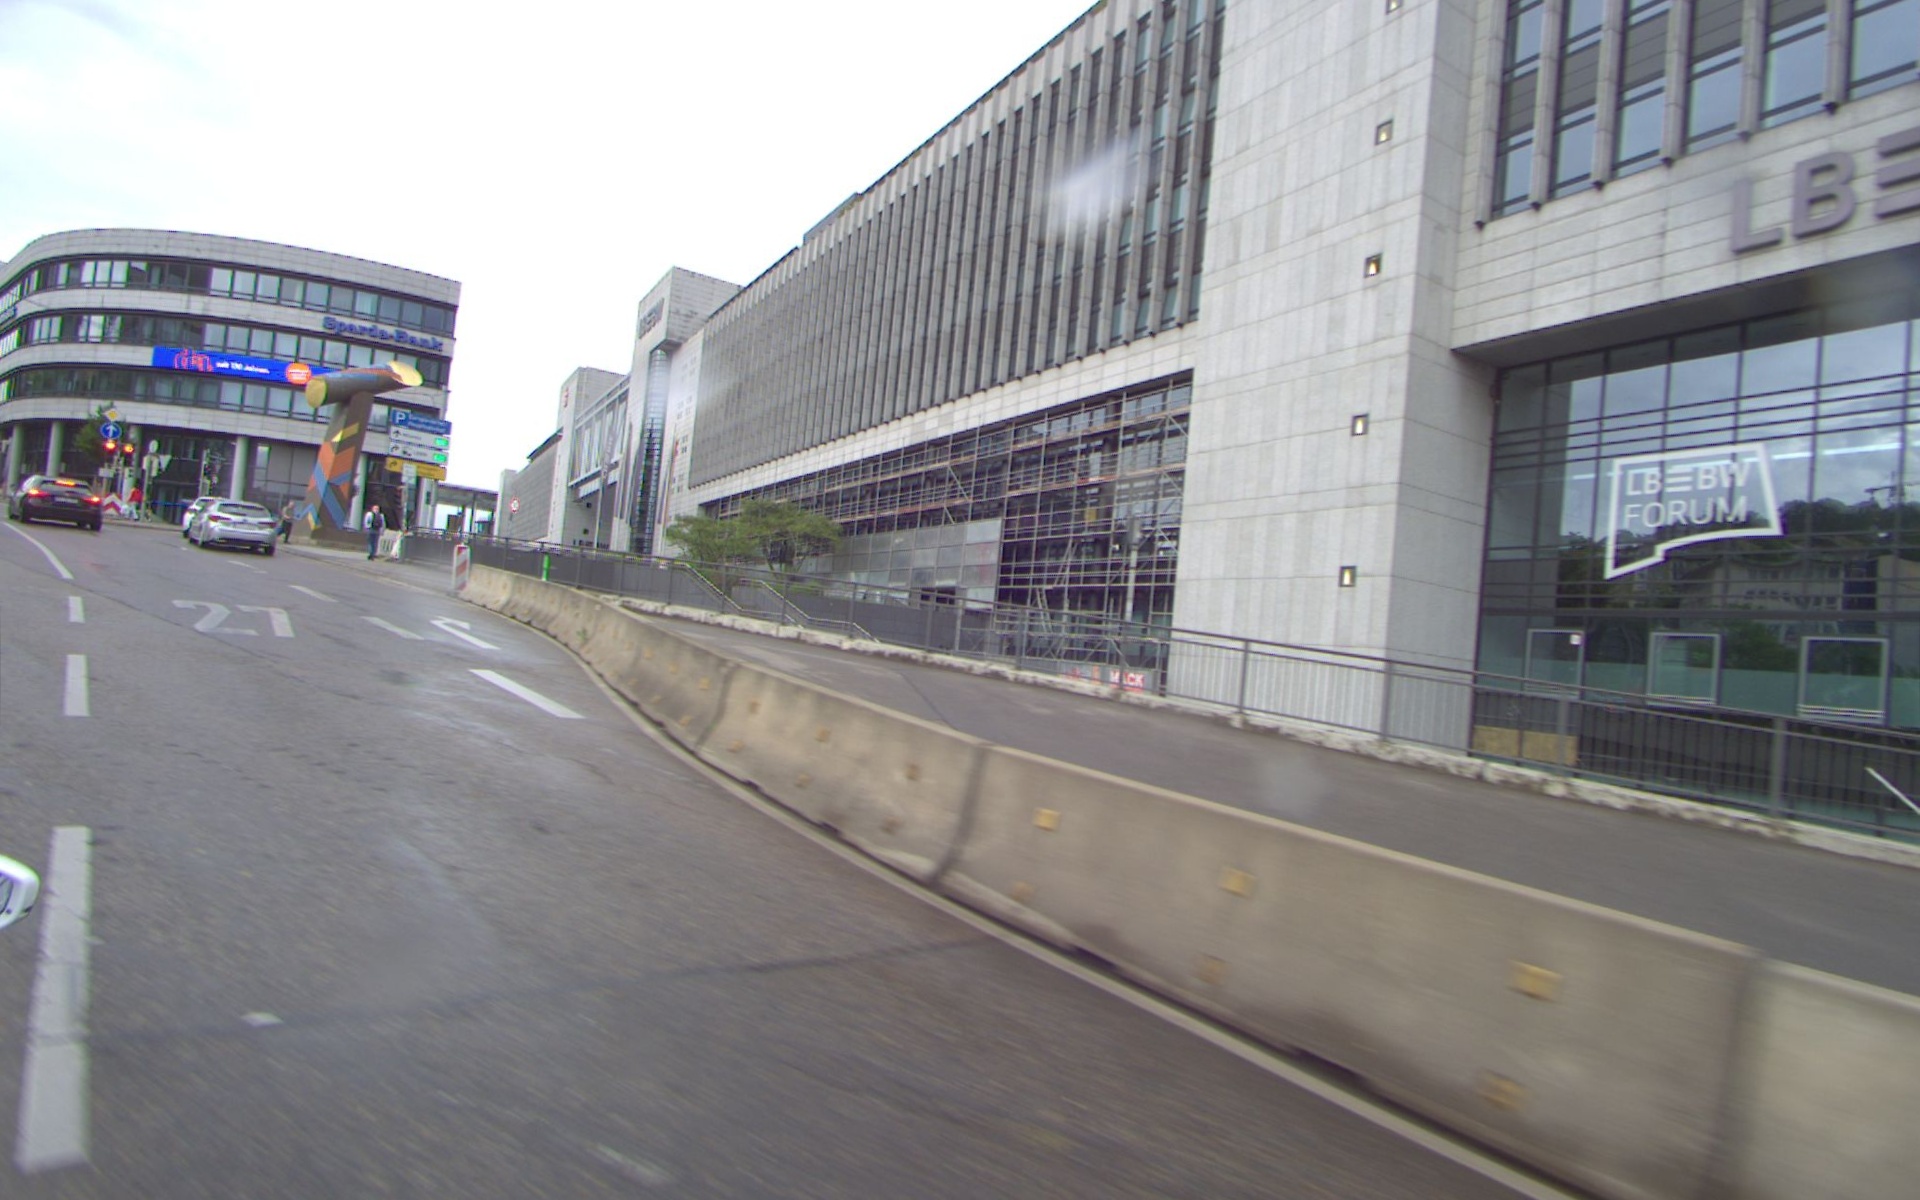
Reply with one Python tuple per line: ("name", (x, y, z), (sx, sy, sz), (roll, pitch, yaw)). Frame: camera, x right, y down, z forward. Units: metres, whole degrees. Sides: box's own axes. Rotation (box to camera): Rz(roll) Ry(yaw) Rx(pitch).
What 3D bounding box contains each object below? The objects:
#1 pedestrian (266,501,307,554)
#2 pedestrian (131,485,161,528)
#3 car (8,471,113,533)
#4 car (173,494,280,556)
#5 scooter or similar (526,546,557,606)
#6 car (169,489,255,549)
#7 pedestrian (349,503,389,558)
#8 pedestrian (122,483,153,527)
("pedestrian", (-29.627, -3.184, 44.247), (0.887, 2.122, 0.856), (8, -2, 16))
("pedestrian", (-39.804, -4.578, 49.198), (0.833, 1.928, 0.727), (6, 0, -25))
("car", (-26.698, -2.885, 29.813), (4.170, 1.423, 1.754), (5, -4, 42))
("car", (-21.655, -2.215, 29.638), (4.556, 1.468, 1.698), (5, -2, 44))
("scooter or similar", (-8.650, -0.500, 20.798), (0.347, 1.176, 0.567), (7, -1, -36))
("car", (-25.696, -2.744, 34.704), (1.758, 1.654, 4.544), (8, -1, -31))
("pedestrian", (-19.684, -2.304, 33.511), (0.831, 1.731, 0.729), (5, -2, 38))
("pedestrian", (-39.556, -4.556, 48.389), (0.833, 1.927, 0.856), (6, -2, -25))
